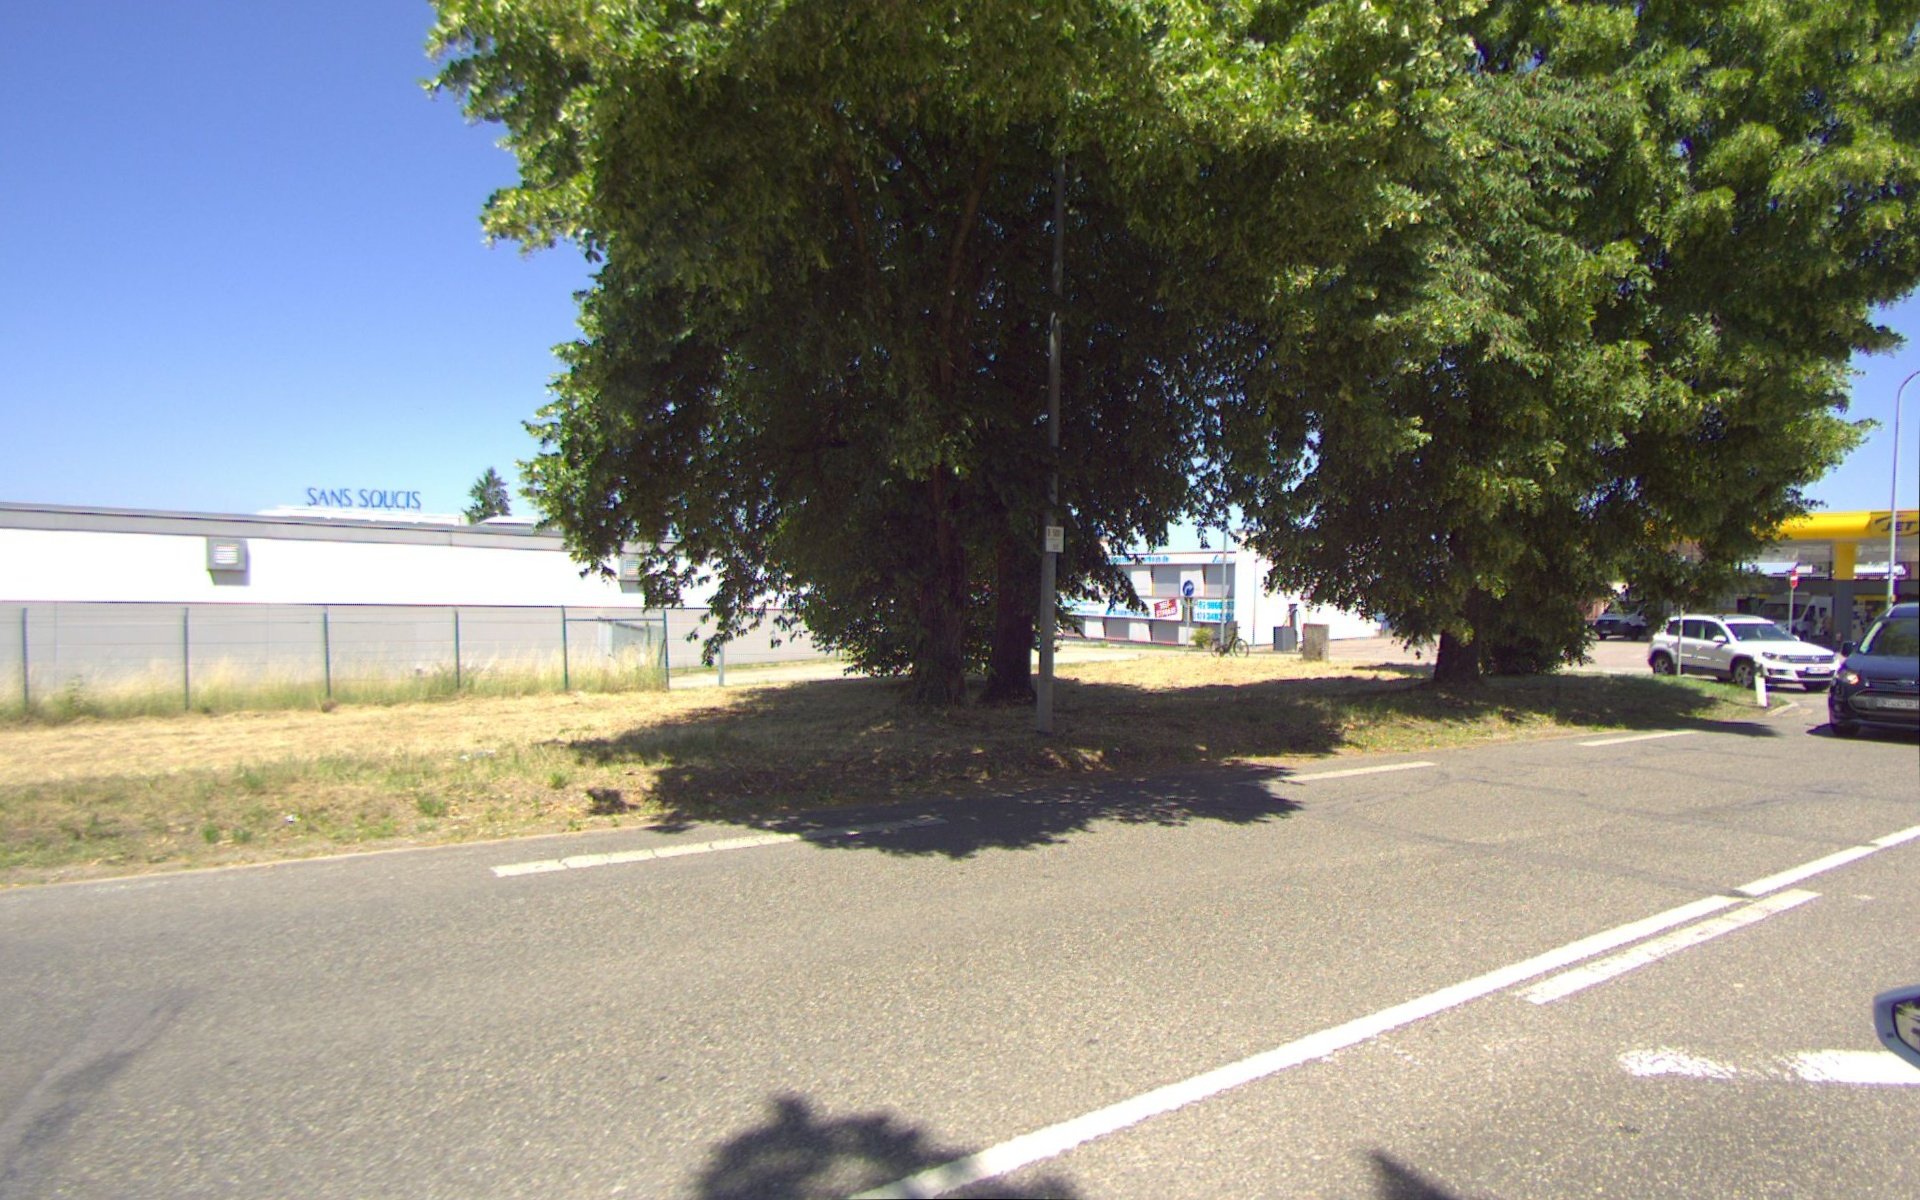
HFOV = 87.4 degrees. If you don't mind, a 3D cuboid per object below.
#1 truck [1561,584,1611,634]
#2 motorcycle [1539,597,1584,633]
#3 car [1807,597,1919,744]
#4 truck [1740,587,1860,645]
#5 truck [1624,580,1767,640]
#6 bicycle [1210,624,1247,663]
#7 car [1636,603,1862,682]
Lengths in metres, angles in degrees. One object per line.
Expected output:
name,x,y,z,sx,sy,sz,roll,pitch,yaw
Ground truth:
truck,42.289,0.610,67.837,3.160,3.286,1.832,0,1,-37
motorcycle,34.966,0.856,58.362,2.755,2.040,0.834,1,0,-25
car,13.622,0.900,13.742,4.730,1.805,1.813,1,-1,-33
truck,40.325,0.798,48.161,6.652,2.633,2.223,1,0,-30
truck,39.059,0.552,53.356,6.623,2.952,2.638,1,0,-17
bicycle,9.779,1.558,36.587,0.390,1.367,1.531,1,-1,-26
car,18.528,0.931,23.884,1.937,1.695,4.247,0,0,-2
